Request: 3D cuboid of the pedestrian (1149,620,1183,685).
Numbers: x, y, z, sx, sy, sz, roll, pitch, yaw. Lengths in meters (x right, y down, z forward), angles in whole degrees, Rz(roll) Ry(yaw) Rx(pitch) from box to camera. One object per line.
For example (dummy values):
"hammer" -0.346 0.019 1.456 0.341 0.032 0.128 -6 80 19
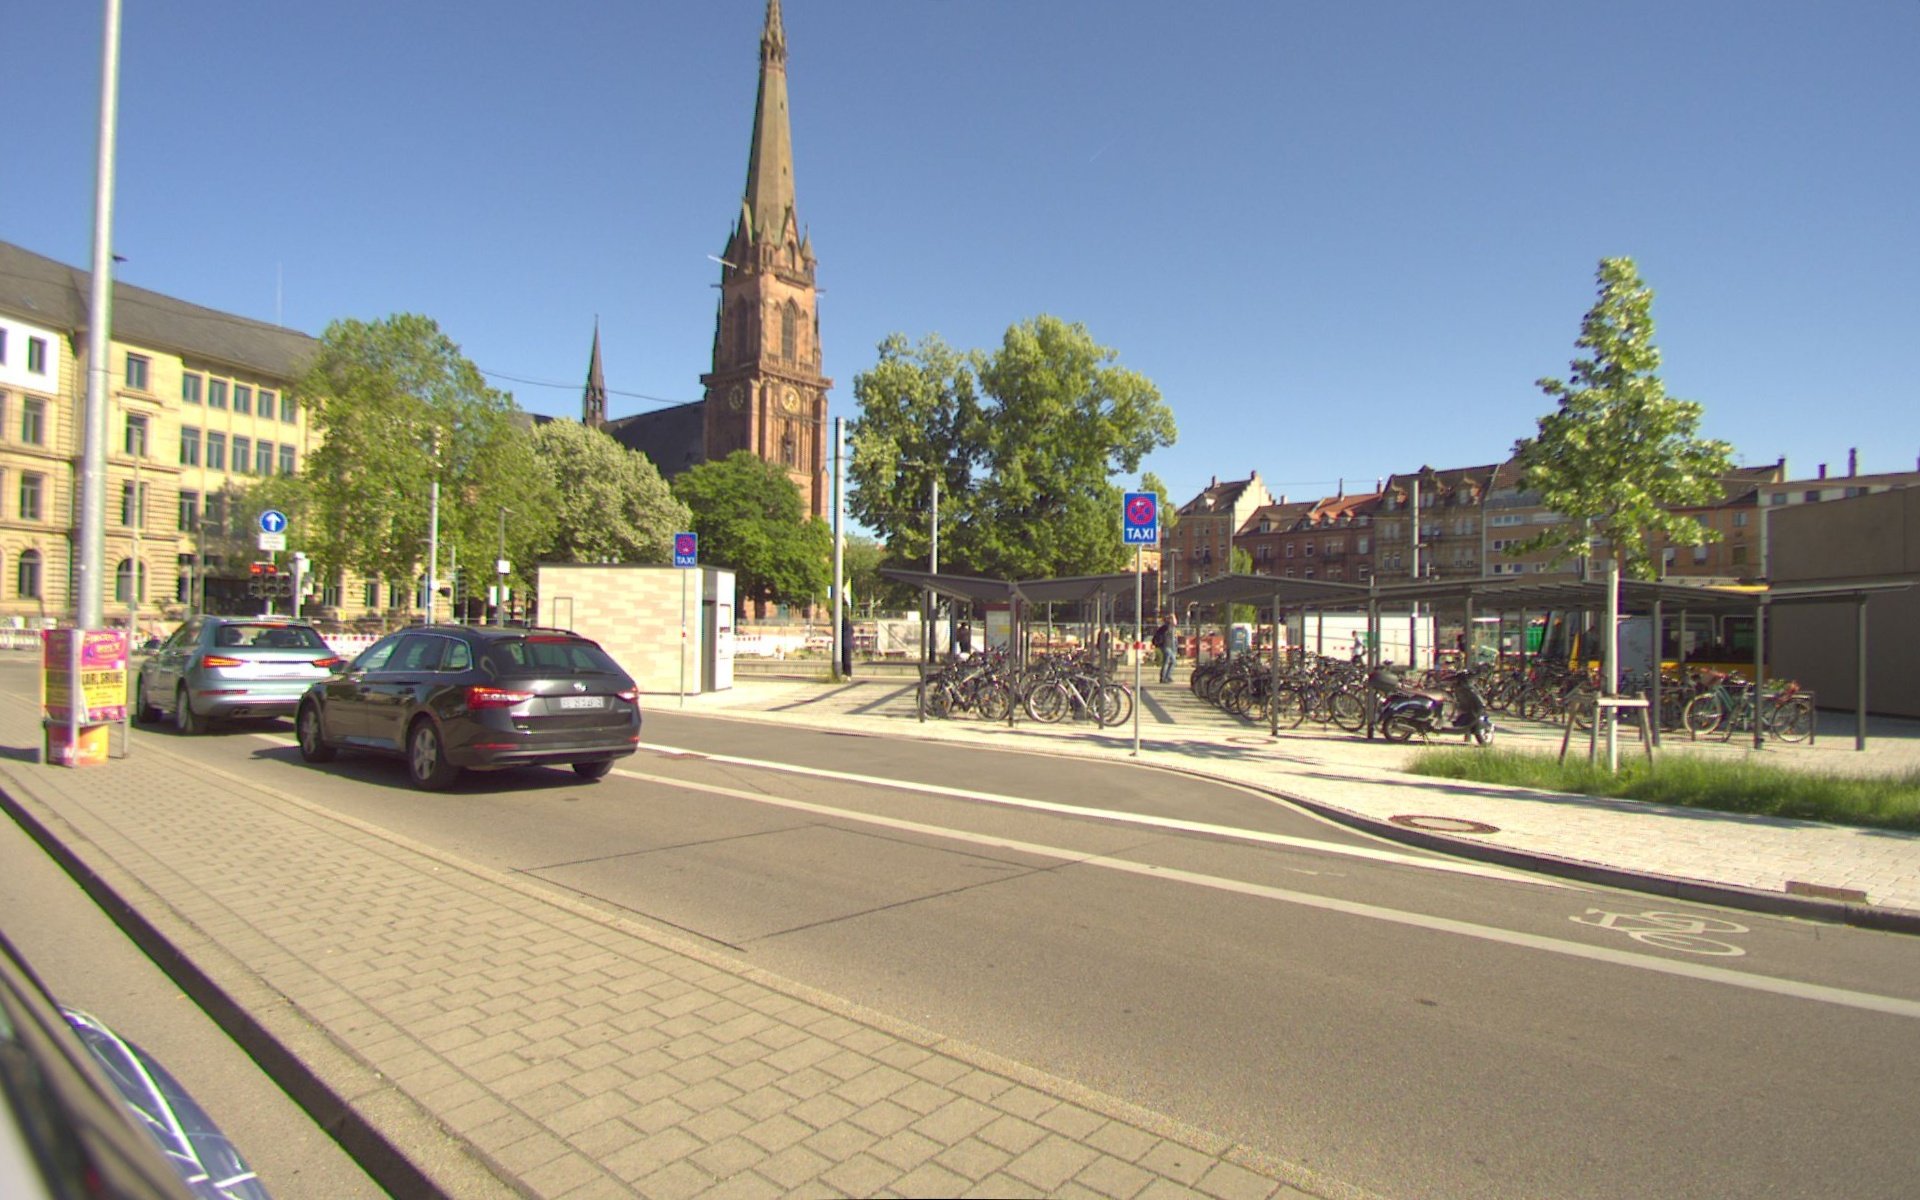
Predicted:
"pedestrian" 5.628 1.419 27.669 0.823 1.740 0.620 0 -2 4

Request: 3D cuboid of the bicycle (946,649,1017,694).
"bicycle" 0.513 1.702 24.188 1.663 1.006 0.406 0 0 8

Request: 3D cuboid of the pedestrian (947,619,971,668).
"pedestrian" -0.023 1.683 39.201 0.610 1.874 0.703 2 -2 -39

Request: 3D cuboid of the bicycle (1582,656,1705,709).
"bicycle" 14.073 1.696 20.878 2.048 1.045 0.533 -1 0 8

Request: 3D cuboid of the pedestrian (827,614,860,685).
"pedestrian" -3.147 1.328 27.371 0.690 1.874 0.622 1 -2 -30

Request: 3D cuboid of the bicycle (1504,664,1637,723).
"bicycle" 11.317 1.733 18.813 2.048 1.045 0.533 -1 0 8

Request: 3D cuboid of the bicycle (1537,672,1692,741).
"bicycle" 10.568 1.711 16.390 2.048 1.045 0.533 -1 0 8

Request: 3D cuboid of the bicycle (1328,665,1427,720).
"bicycle" 7.837 1.731 19.014 1.661 0.980 0.406 -1 0 3

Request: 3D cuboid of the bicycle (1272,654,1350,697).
"bicycle" 8.287 1.785 23.916 1.661 0.980 0.406 -1 0 3

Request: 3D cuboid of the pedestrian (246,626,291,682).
"pedestrian" -21.068 1.633 30.850 0.624 1.680 0.929 0 -2 13

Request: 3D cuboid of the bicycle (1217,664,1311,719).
"bicycle" 5.809 1.737 19.376 1.661 0.980 0.406 1 0 3

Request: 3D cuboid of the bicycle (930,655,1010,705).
"bicycle" 0.225 1.676 21.405 1.663 1.006 0.406 0 0 8

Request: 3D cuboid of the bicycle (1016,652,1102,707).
"bicycle" 2.048 1.642 20.974 1.755 1.083 0.406 1 0 6

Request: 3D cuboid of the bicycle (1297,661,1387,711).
"bicycle" 7.856 1.761 20.827 1.661 0.980 0.406 -1 0 3

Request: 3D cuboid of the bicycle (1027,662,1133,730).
"bicycle" 2.017 1.606 17.093 1.753 1.083 0.406 1 -3 6

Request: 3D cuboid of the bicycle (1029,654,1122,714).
"bicycle" 2.231 1.620 19.583 1.755 1.083 0.406 1 0 6

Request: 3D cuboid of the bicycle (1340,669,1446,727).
"bicycle" 7.638 1.725 17.893 1.661 0.980 0.406 -1 0 3

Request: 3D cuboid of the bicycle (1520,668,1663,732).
"bicycle" 10.977 1.738 17.639 2.048 1.045 0.533 -1 0 8

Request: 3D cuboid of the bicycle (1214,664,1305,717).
"bicycle" 5.897 1.781 19.959 1.661 0.980 0.406 1 0 3

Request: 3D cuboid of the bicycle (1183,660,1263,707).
"bicycle" 5.781 1.837 22.297 1.661 0.980 0.406 1 -5 3

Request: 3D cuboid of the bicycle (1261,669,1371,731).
"bicycle" 5.929 1.672 16.890 1.661 0.980 0.406 -1 0 3

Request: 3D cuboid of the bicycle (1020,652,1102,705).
"bicycle" 2.188 1.694 22.029 1.755 1.083 0.406 1 0 6

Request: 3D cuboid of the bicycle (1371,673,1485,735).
"bicycle" 7.763 1.724 16.822 1.661 0.980 0.406 -1 0 3

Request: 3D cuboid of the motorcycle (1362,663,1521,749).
"motorcycle" 7.189 1.570 15.161 2.059 1.228 0.569 -1 -2 3

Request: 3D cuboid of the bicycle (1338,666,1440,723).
"bicycle" 7.818 1.723 18.461 1.661 0.980 0.406 -1 0 3

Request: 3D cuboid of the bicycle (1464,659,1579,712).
"bicycle" 11.771 1.795 21.266 2.048 1.045 0.533 -1 2 8

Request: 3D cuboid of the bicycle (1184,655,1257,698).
"bicycle" 6.251 1.836 24.313 1.661 0.980 0.406 1 -5 3

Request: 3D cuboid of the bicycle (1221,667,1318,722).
"bicycle" 5.724 1.750 18.769 1.661 0.980 0.406 -1 0 3

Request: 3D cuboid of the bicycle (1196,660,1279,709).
"bicycle" 5.921 1.805 21.641 1.661 0.980 0.406 1 -5 3

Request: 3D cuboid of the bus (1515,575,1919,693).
"bus" 23.395 0.939 28.483 13.462 3.095 2.859 0 -2 6

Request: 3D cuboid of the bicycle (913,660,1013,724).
"bicycle" 0.063 1.574 17.383 1.663 1.006 0.406 2 0 8

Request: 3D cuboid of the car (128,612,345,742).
"car" -10.463 1.028 14.512 4.259 1.594 1.767 -2 -4 45

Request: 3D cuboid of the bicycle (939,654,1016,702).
"bicycle" 0.380 1.705 22.285 1.663 1.006 0.406 0 0 8

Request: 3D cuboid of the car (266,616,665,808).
"car" -5.173 0.980 10.267 4.780 1.516 1.795 -1 -4 40

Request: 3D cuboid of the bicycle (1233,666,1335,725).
"bicycle" 5.811 1.709 18.189 1.661 0.980 0.406 1 0 3

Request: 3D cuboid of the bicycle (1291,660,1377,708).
"bicycle" 7.984 1.789 21.624 1.661 0.980 0.406 -1 0 3

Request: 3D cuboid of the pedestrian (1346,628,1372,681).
"pedestrian" 15.593 2.112 39.545 0.793 2.029 0.535 0 -2 4

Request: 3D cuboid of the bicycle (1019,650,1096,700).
"bicycle" 2.268 1.731 23.499 1.755 1.083 0.406 1 0 6

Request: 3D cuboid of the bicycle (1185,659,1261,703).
"bicycle" 6.132 1.881 23.625 1.661 0.980 0.406 1 -5 3

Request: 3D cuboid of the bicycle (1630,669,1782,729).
"bicycle" 13.474 1.779 18.331 2.117 1.005 0.690 -1 0 7

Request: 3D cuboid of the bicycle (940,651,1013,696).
"bicycle" 0.388 1.701 23.663 1.663 1.006 0.406 0 0 8

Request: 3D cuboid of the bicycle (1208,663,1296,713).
"bicycle" 5.920 1.785 20.565 1.661 0.980 0.406 1 -5 3

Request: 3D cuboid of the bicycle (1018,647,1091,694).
"bicycle" 2.309 1.723 24.679 1.755 1.083 0.406 1 0 6

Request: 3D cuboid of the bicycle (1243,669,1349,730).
"bicycle" 5.789 1.710 17.464 1.661 0.980 0.406 1 0 3

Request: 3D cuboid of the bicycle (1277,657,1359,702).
"bicycle" 8.068 1.788 22.839 1.661 0.980 0.406 -1 0 3

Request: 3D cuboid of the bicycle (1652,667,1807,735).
"bicycle" 12.984 1.697 17.116 2.030 1.087 0.604 -1 0 7

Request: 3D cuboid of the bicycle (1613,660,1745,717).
"bicycle" 13.848 1.700 19.526 2.048 1.045 0.533 -1 0 8

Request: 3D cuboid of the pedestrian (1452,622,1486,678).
"pedestrian" 17.796 1.744 35.386 0.793 1.931 0.769 0 -2 4

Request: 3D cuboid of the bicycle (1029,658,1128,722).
"bicycle" 2.135 1.617 18.338 1.753 1.083 0.406 1 0 6

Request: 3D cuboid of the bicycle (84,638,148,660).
"bicycle" -39.555 2.305 47.473 2.205 0.988 0.696 1 -2 -14

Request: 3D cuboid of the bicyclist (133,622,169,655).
"bicyclist" -38.250 1.817 47.859 1.125 1.552 0.684 1 -2 -14

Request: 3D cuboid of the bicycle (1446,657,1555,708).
"bicycle" 11.861 1.801 22.256 2.048 1.045 0.533 -1 2 8

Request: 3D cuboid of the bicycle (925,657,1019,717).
"bicycle" 0.227 1.597 18.602 1.663 1.006 0.406 2 0 8

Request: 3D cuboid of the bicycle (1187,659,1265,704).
"bicycle" 6.048 1.860 23.052 1.661 0.980 0.406 1 -5 3

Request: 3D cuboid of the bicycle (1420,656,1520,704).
"bicycle" 12.295 1.919 24.430 2.048 1.045 0.533 1 3 8

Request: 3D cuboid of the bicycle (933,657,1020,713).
"bicycle" 0.323 1.664 19.946 1.663 1.006 0.406 2 0 8

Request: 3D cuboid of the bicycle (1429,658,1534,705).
"bicycle" 12.026 1.879 23.375 2.048 1.045 0.533 -1 -4 8

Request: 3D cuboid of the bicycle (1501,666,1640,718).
"bicycle" 11.884 1.795 19.759 2.208 0.951 0.685 -1 0 7

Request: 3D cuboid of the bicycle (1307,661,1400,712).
"bicycle" 7.853 1.730 20.230 1.661 0.980 0.406 -1 0 3

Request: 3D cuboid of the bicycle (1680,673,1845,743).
"bicycle" 12.762 1.715 16.139 2.048 1.045 0.533 -1 0 8
